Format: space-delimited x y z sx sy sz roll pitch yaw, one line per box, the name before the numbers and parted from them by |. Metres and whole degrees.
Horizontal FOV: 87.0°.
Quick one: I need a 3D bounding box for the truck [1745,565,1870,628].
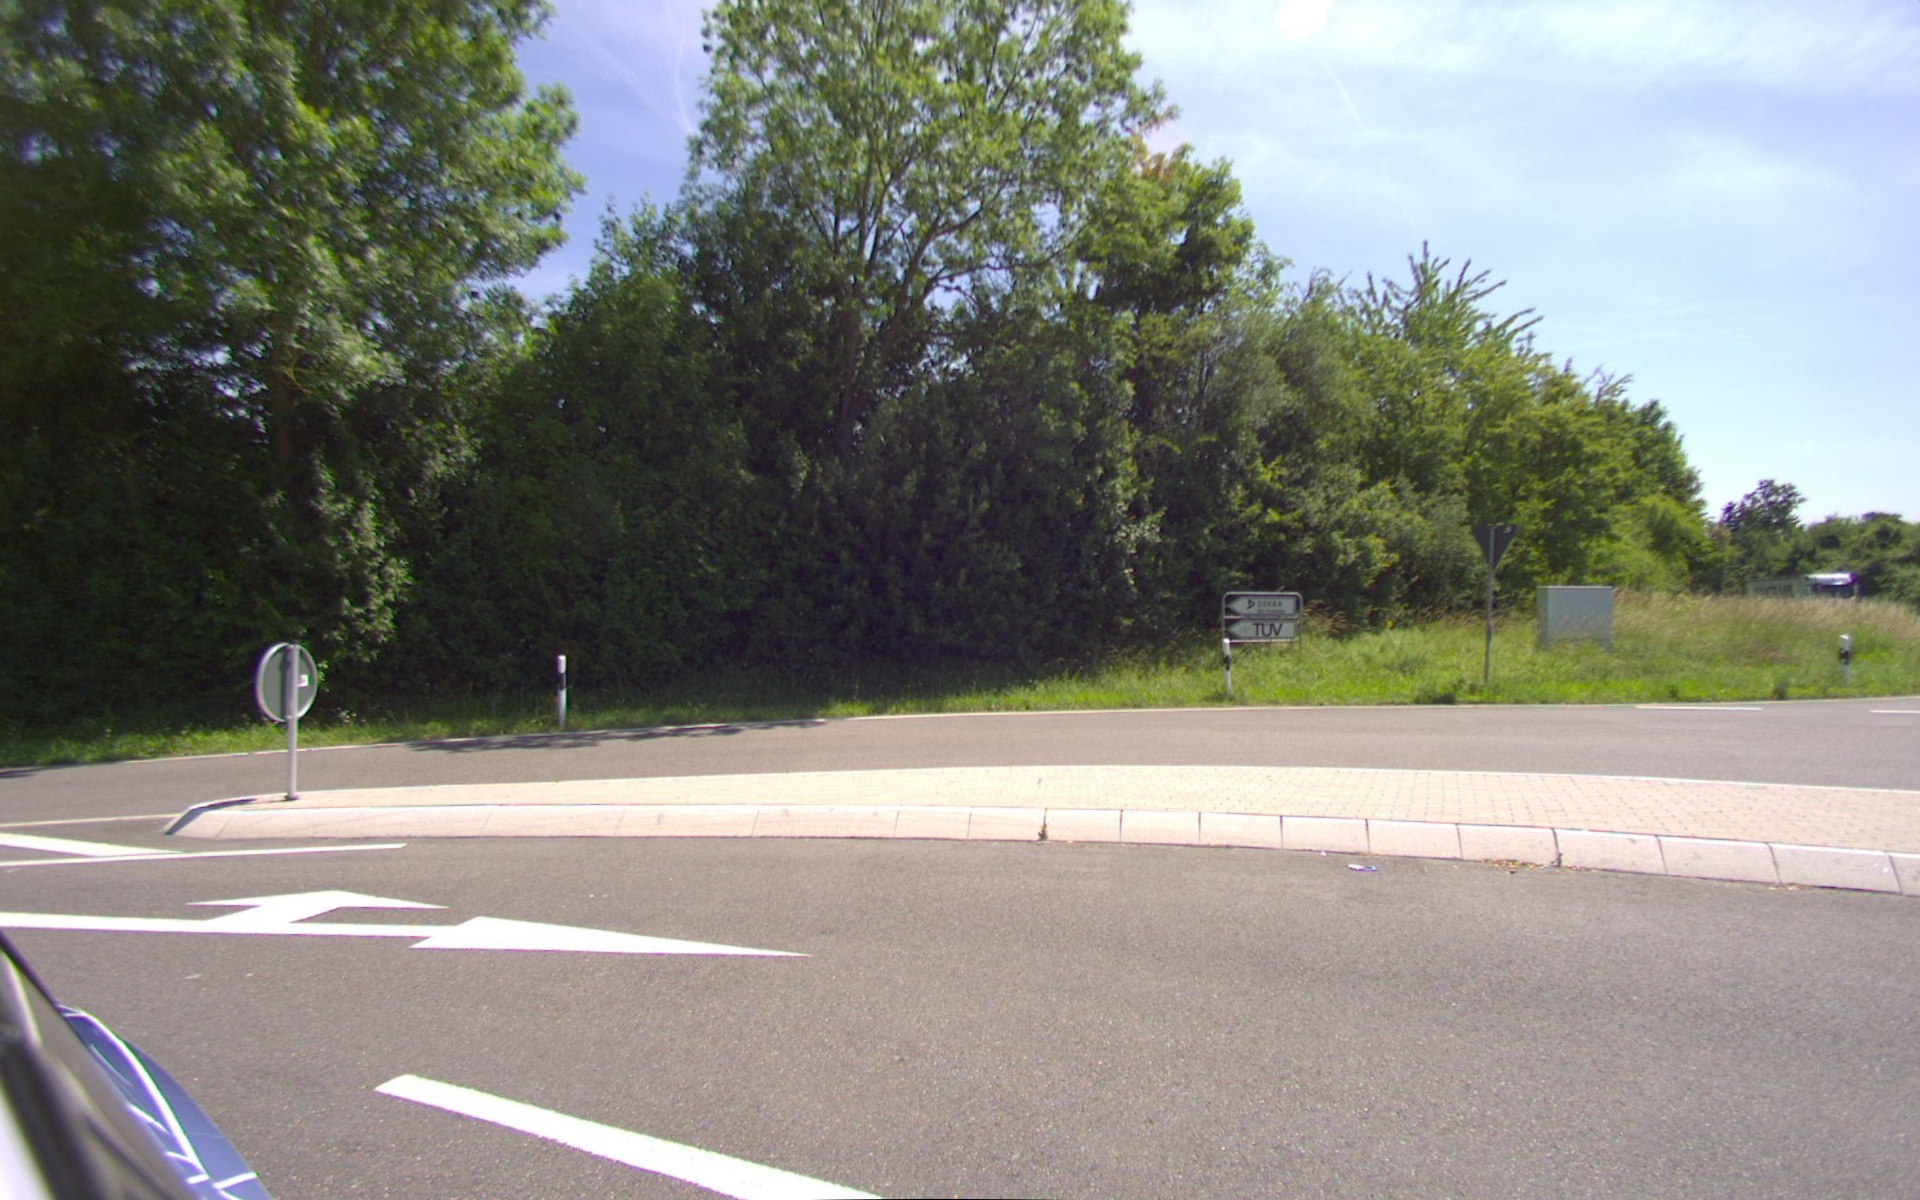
truck | 67.430 -0.053 81.122 3.126 4.480 16.318 -3 -2 24
